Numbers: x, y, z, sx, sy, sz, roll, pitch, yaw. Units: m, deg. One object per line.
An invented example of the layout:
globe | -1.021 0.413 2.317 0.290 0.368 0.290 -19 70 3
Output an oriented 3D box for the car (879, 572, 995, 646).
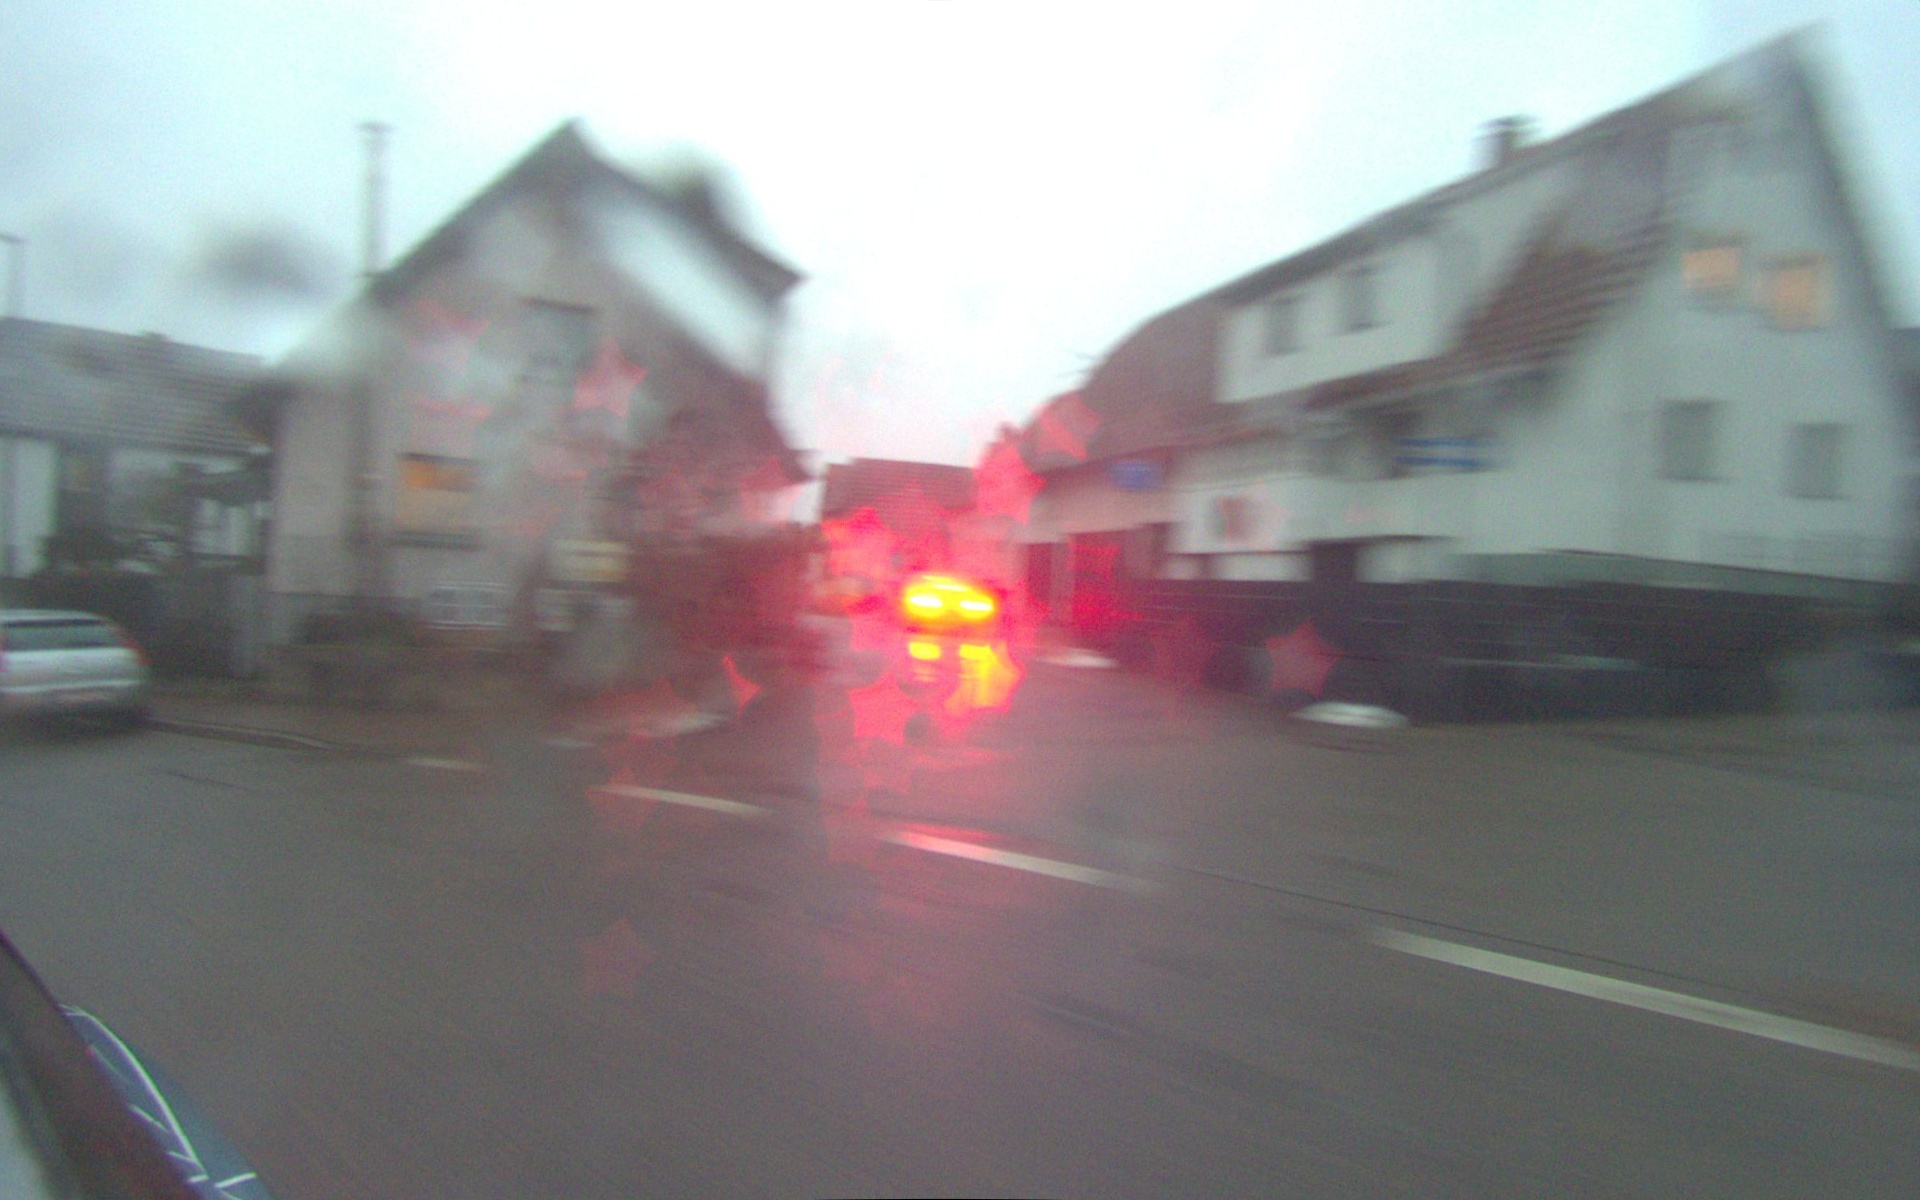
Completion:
car | -0.667 0.158 24.836 1.966 1.644 4.011 0 1 -14

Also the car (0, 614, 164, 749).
car | -11.620 0.886 12.216 4.129 1.399 1.737 0 0 29

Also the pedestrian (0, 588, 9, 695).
pedestrian | -17.277 0.723 17.791 0.808 1.883 0.594 1 0 29
